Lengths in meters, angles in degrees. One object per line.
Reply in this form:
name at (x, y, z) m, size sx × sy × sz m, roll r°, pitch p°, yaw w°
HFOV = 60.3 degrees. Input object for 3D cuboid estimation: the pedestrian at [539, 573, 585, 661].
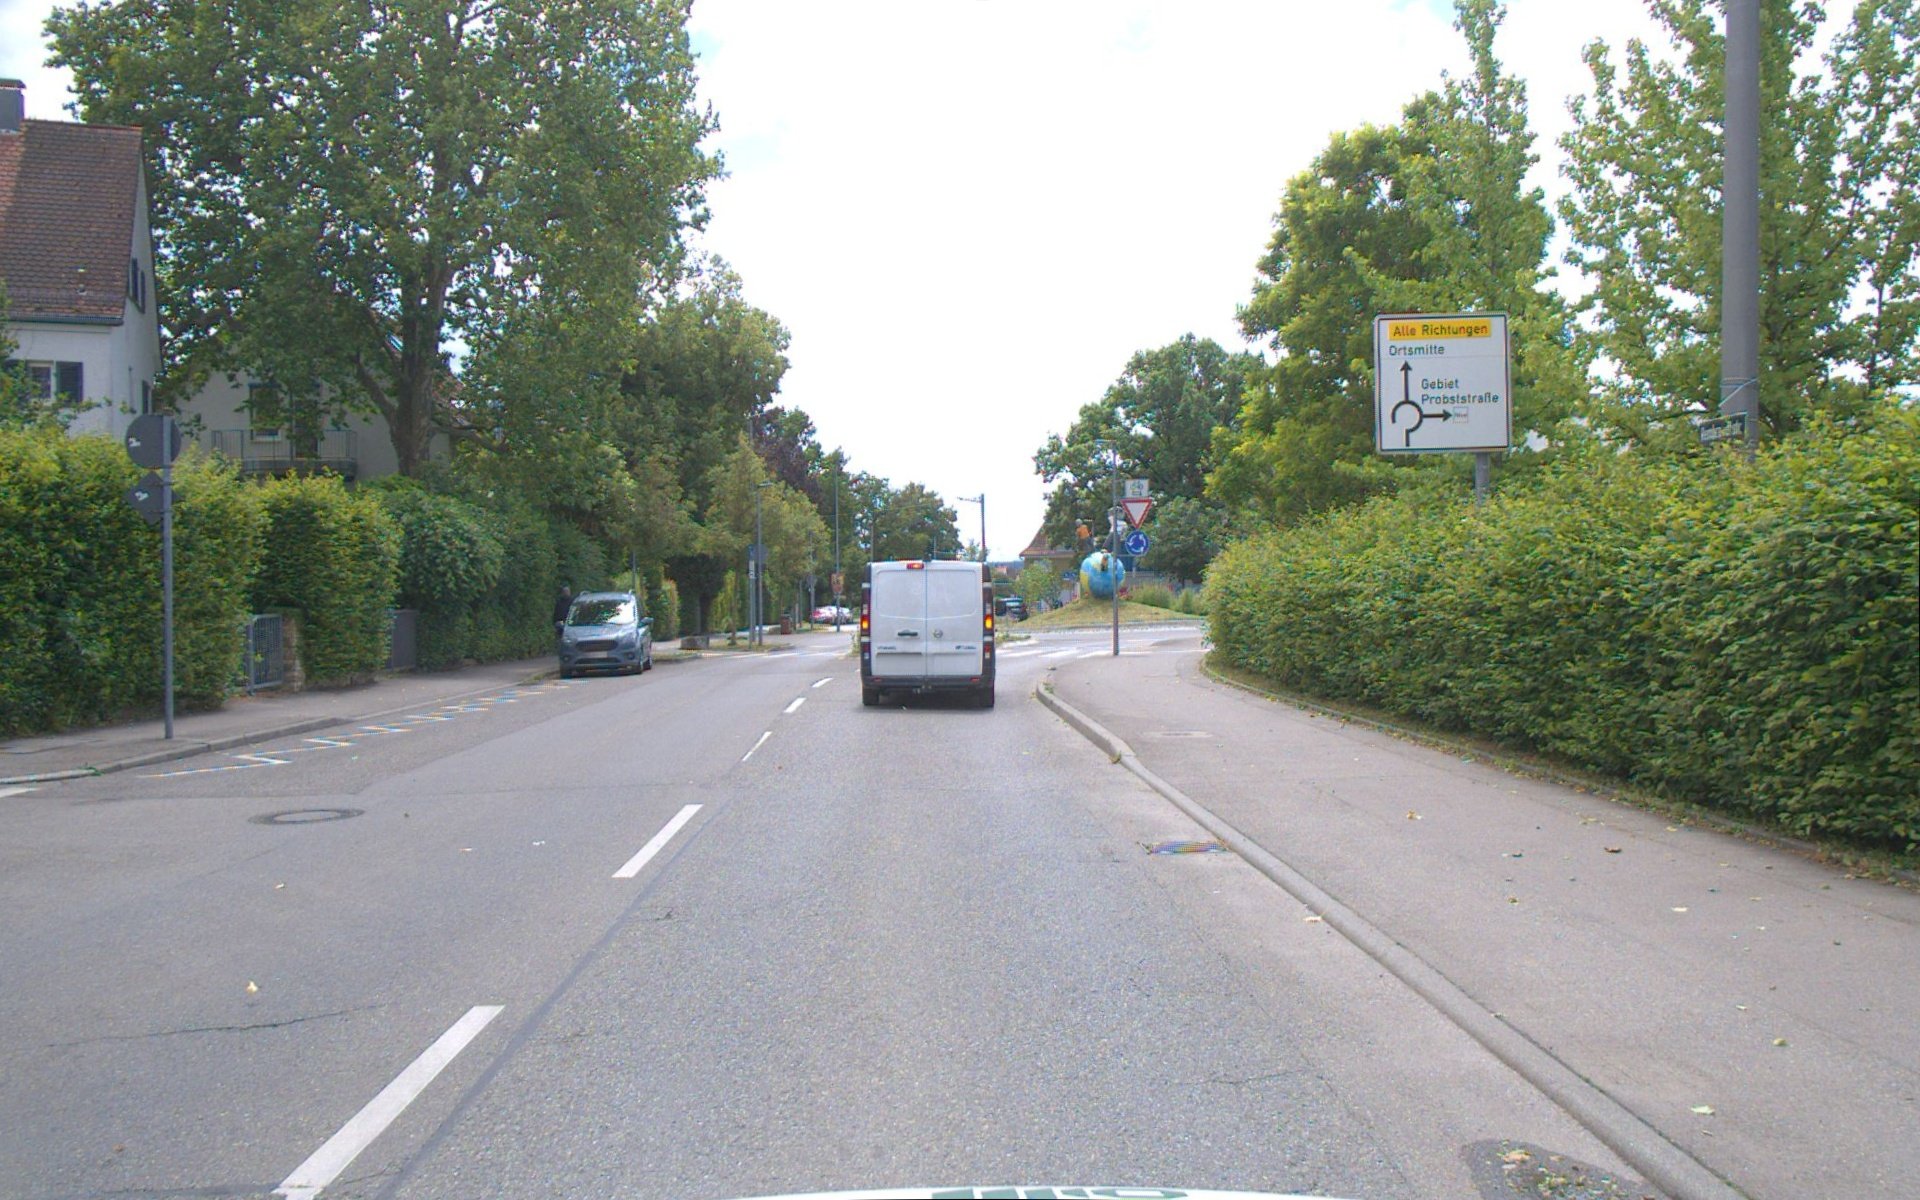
pedestrian at (-9.527, 0.389, 39.578) m, size 0.855 × 2.049 × 1.040 m, roll -2°, pitch 0°, yaw -5°

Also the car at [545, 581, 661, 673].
car at (-7.599, 0.523, 35.544) m, size 2.092 × 1.803 × 4.456 m, roll 1°, pitch 1°, yaw -8°

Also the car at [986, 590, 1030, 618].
car at (2.864, 0.224, 99.055) m, size 1.897 × 1.564 × 3.916 m, roll -1°, pitch 1°, yaw -10°

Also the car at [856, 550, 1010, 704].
car at (-0.359, 0.324, 24.115) m, size 1.993 × 1.979 × 4.993 m, roll 1°, pitch 1°, yaw 0°

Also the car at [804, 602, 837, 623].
car at (-10.561, 0.938, 125.029) m, size 2.026 × 1.410 × 4.037 m, roll -1°, pitch 1°, yaw -11°

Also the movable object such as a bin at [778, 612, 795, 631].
movable object such as a bin at (-8.153, 1.020, 77.831) m, size 0.616 × 0.878 × 0.641 m, roll -2°, pitch 0°, yaw 9°
